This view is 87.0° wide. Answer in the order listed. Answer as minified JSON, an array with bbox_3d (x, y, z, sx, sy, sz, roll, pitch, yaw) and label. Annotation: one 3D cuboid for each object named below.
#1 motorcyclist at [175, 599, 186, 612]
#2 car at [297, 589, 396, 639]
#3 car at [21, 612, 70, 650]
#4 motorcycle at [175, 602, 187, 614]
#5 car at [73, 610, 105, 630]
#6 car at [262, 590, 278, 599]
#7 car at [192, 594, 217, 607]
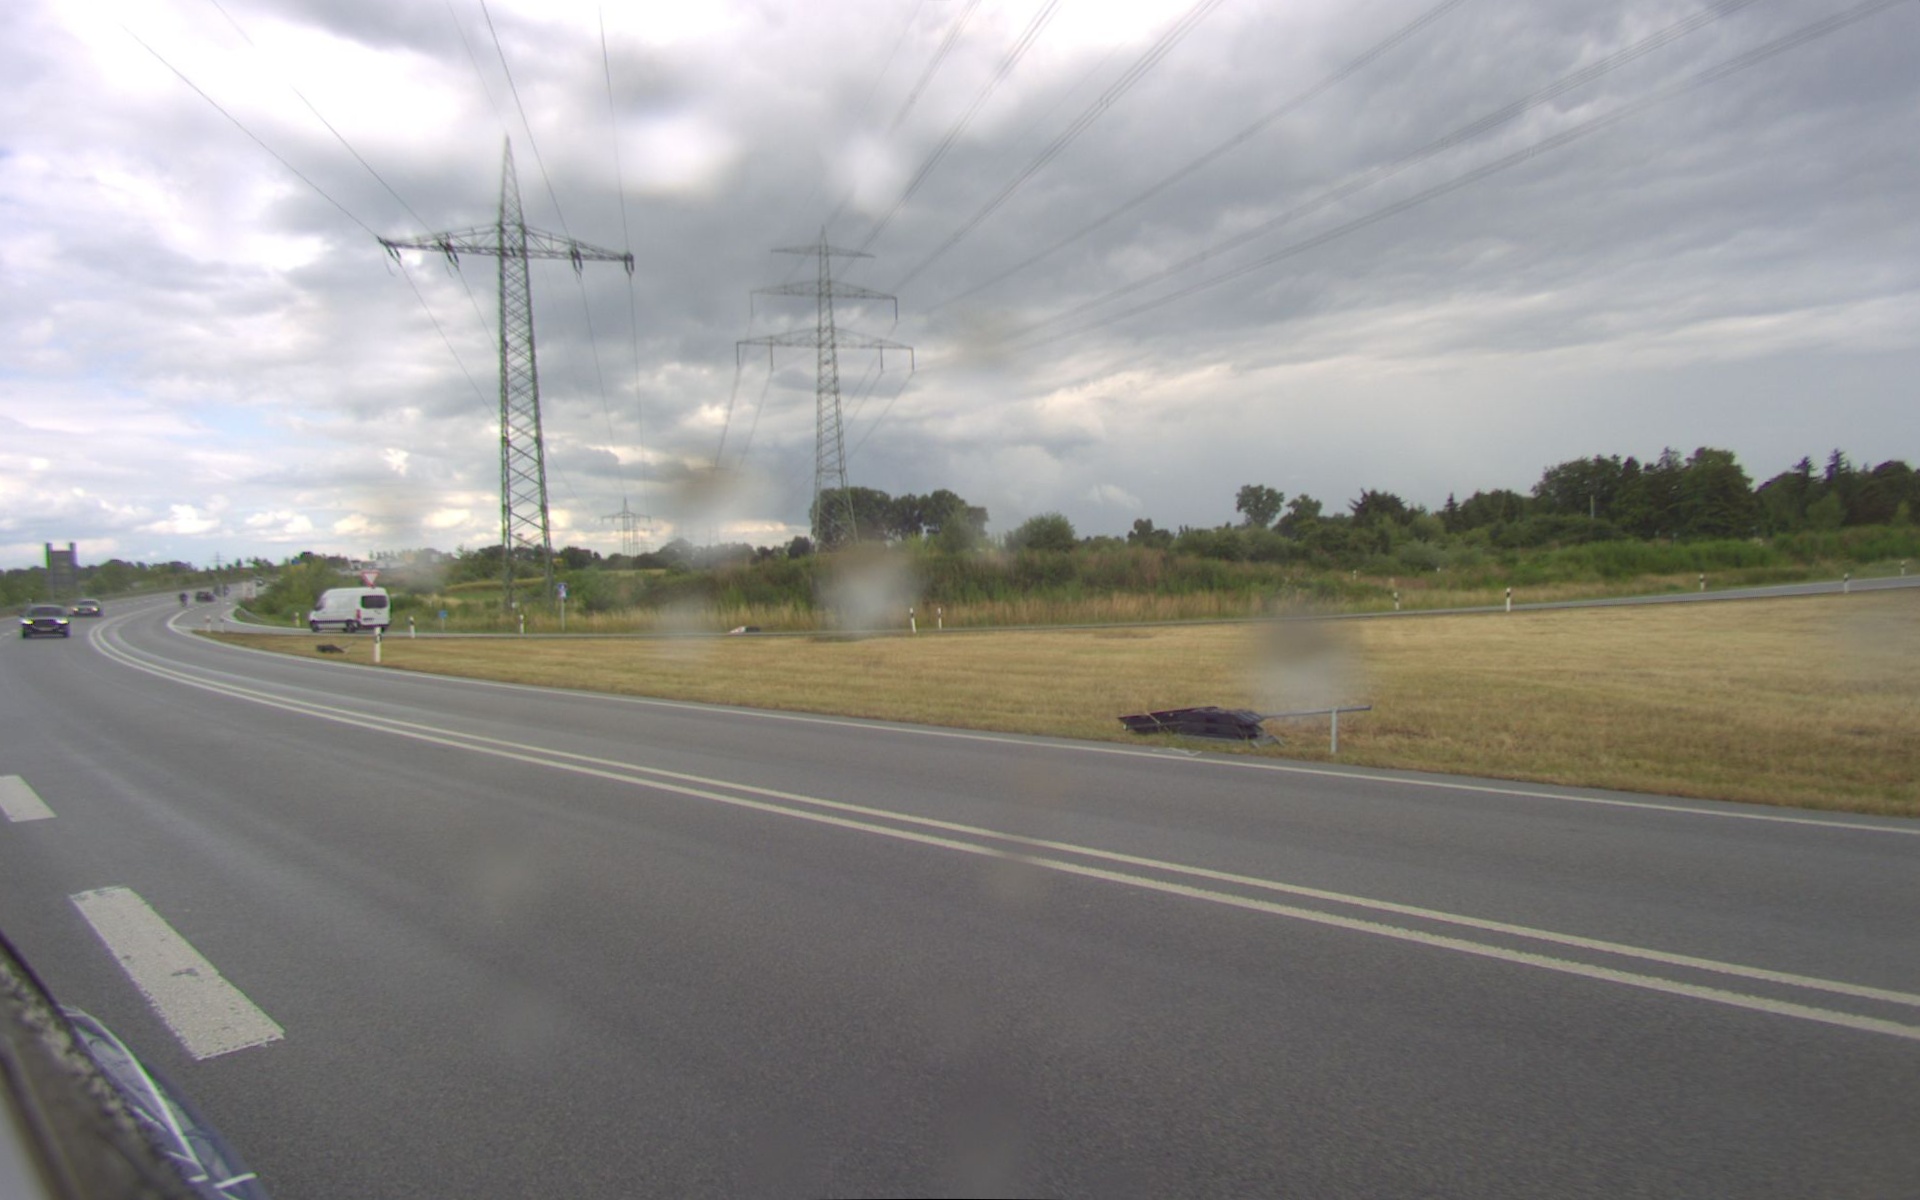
[{"bbox_3d":[-88.358,0.612,114.707,0.791,1.546,0.827,-1,0,-29],"label":"motorcyclist"},{"bbox_3d":[-36.604,0.808,60.329,5.994,2.769,2.194,-1,3,28],"label":"car"},{"bbox_3d":[-47.293,1.572,52.308,1.770,1.782,4.004,-2,2,-43],"label":"car"},{"bbox_3d":[-88.378,0.897,114.789,0.791,1.247,2.192,-1,0,-30],"label":"motorcycle"},{"bbox_3d":[-75.123,1.700,87.326,1.721,1.508,4.059,-2,1,-36],"label":"car"},{"bbox_3d":[-124.173,-0.968,182.187,1.681,1.491,4.626,0,2,-24],"label":"car"},{"bbox_3d":[-98.417,0.020,131.796,1.774,1.606,4.239,0,0,-25],"label":"car"}]
